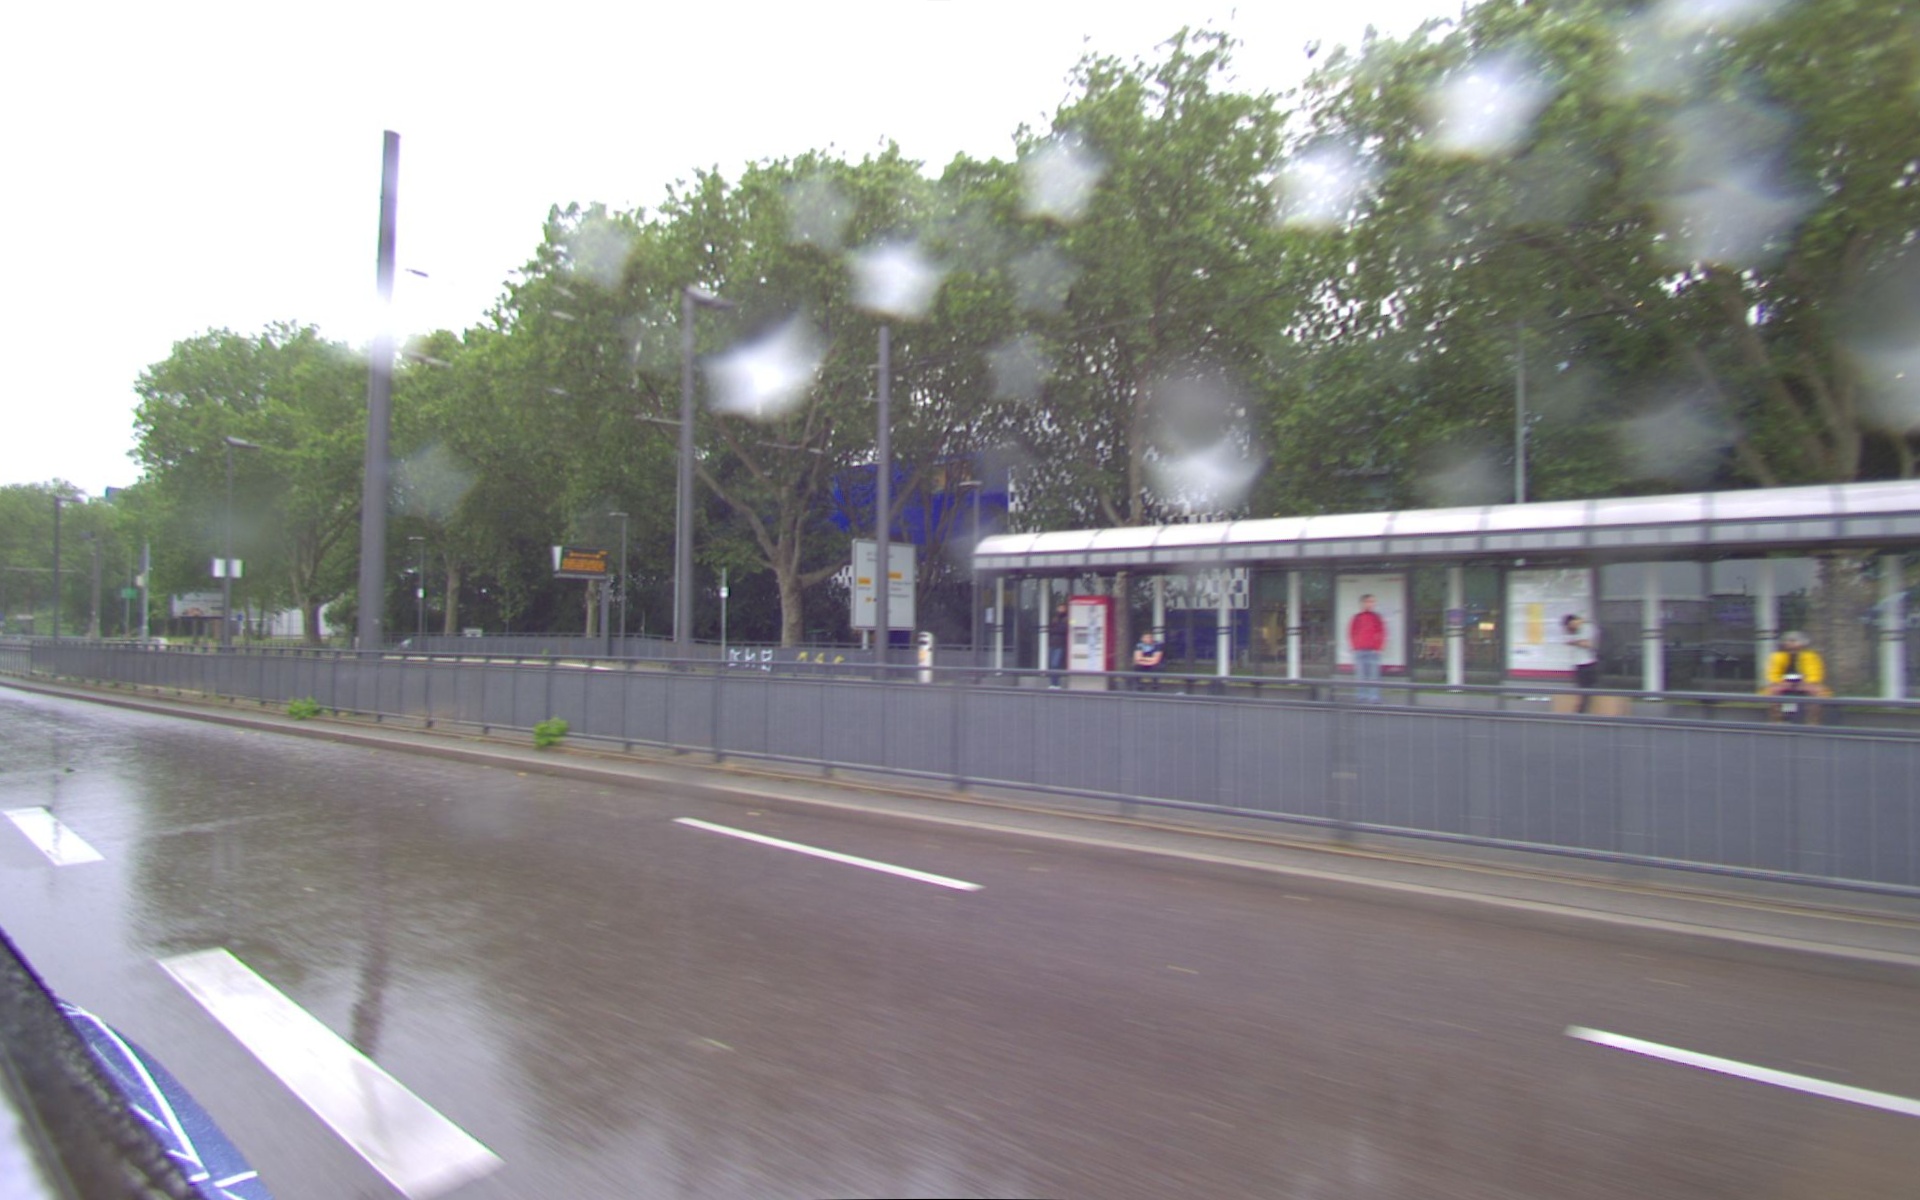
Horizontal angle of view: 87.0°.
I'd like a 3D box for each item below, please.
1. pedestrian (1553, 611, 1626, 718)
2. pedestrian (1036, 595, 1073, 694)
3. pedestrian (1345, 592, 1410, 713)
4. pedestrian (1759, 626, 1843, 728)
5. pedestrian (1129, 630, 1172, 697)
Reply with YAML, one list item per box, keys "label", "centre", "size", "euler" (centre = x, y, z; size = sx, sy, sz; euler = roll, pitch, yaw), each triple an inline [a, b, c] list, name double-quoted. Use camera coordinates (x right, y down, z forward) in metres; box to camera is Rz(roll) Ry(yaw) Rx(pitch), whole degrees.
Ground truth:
- label: "pedestrian"
  centre: [9.521, 0.952, 15.335]
  size: [0.666, 1.573, 0.824]
  euler: [-1, -1, 13]
- label: "pedestrian"
  centre: [1.974, 0.923, 21.181]
  size: [0.582, 2.029, 0.488]
  euler: [-1, -1, 40]
- label: "pedestrian"
  centre: [6.930, 0.845, 16.803]
  size: [0.814, 1.947, 0.614]
  euler: [-1, -1, 43]
- label: "pedestrian"
  centre: [11.407, 1.018, 13.728]
  size: [0.814, 1.313, 0.636]
  euler: [-1, -1, 43]
- label: "pedestrian"
  centre: [3.699, 1.219, 19.650]
  size: [0.664, 1.277, 0.488]
  euler: [-1, -1, 43]
